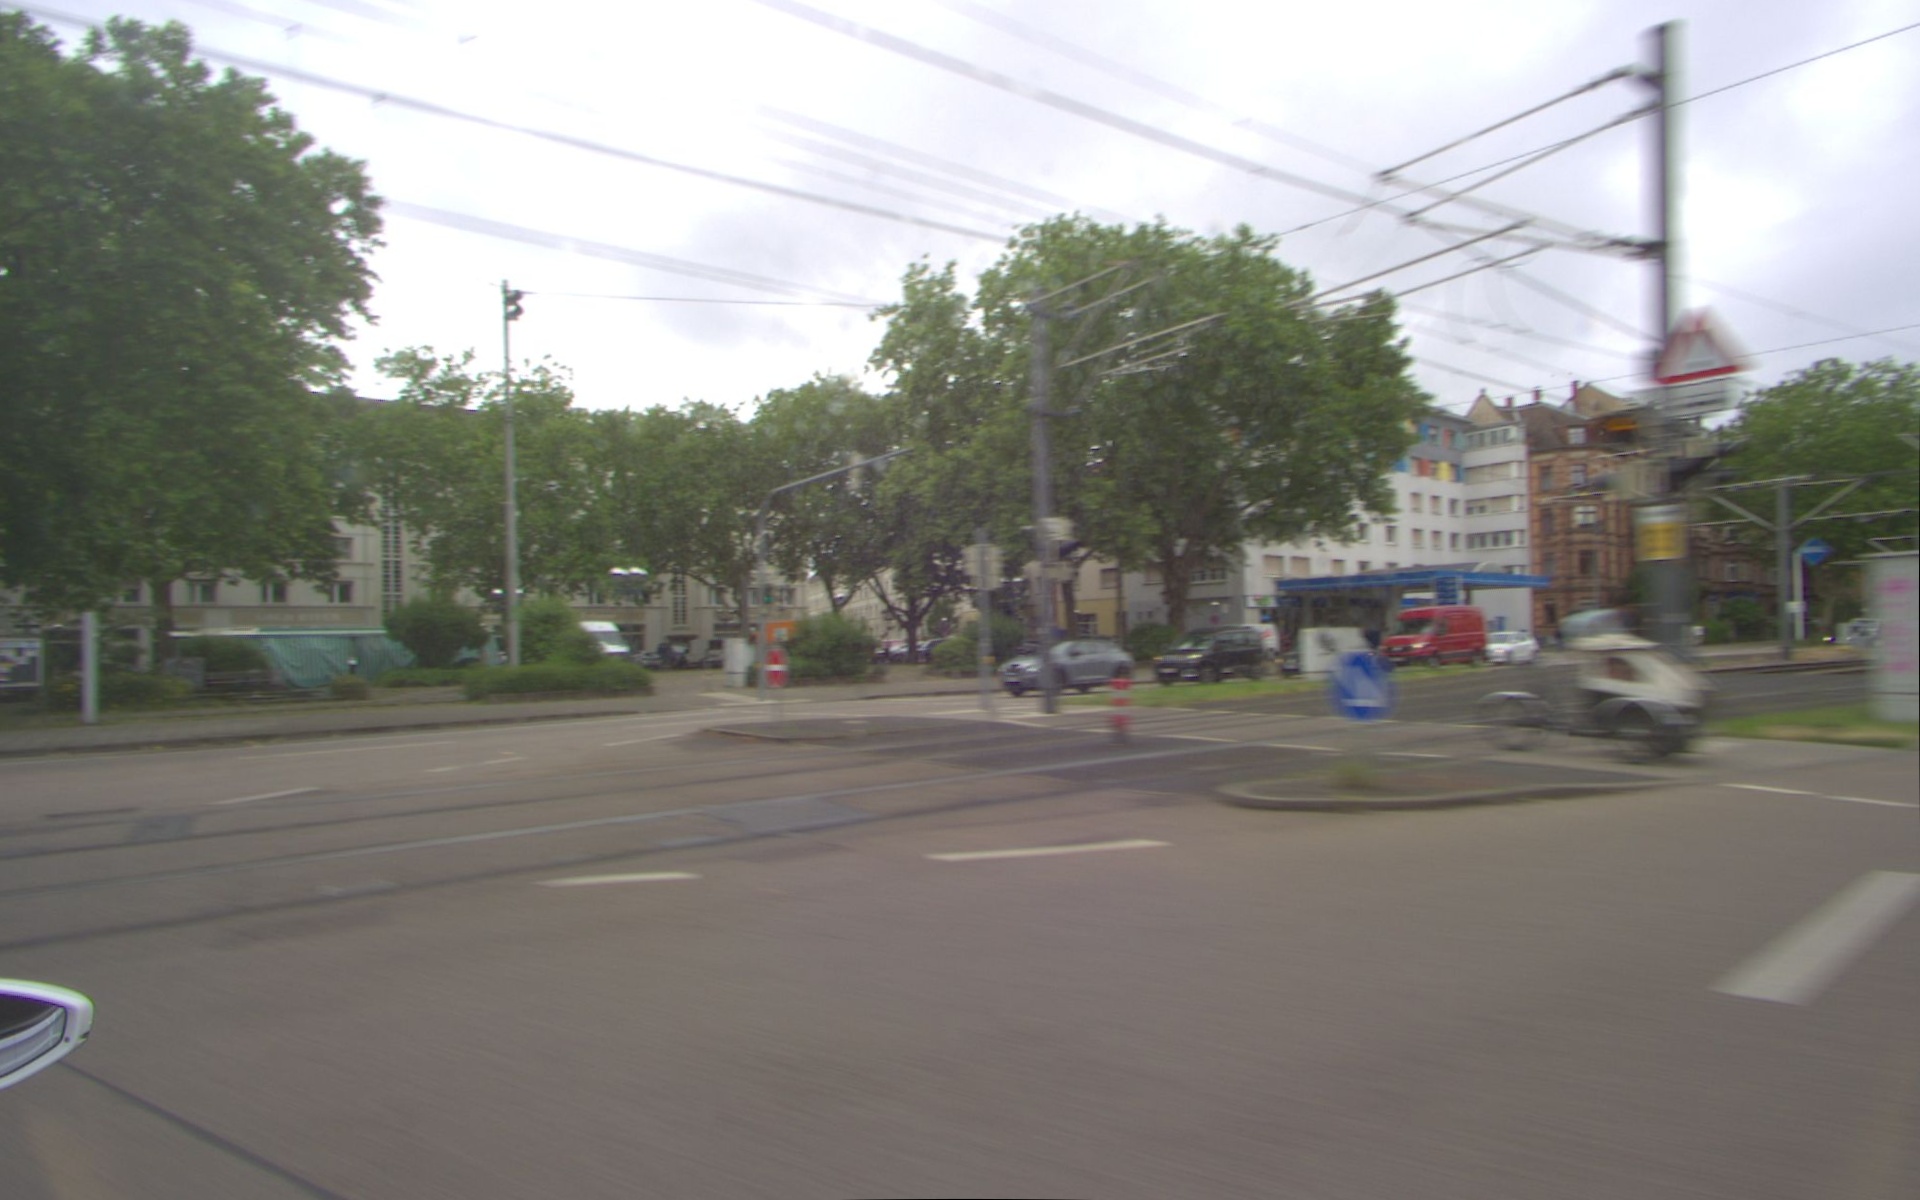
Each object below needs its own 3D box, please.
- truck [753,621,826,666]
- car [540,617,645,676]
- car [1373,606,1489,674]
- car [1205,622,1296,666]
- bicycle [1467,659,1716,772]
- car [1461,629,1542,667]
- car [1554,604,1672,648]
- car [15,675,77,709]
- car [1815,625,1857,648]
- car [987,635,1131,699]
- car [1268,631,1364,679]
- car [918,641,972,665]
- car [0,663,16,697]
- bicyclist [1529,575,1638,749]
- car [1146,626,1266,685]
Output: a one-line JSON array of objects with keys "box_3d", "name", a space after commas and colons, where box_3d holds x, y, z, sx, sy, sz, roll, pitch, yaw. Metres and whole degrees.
[{"box_3d": [-10.302, 2.649, 60.506, 3.955, 2.624, 2.369, -3, -2, 41], "name": "truck"}, {"box_3d": [-17.627, 2.222, 47.965, 5.380, 2.673, 2.227, -3, -2, 38], "name": "car"}, {"box_3d": [19.060, 1.574, 40.431, 5.546, 2.570, 1.978, 0, -2, -39], "name": "car"}, {"box_3d": [15.066, 2.271, 51.818, 5.029, 2.122, 1.978, 0, -2, -39], "name": "car"}, {"box_3d": [6.288, 1.105, 10.095, 0.546, 1.008, 2.045, 0, -2, -39], "name": "bicycle"}, {"box_3d": [24.164, 2.130, 44.648, 4.102, 1.549, 1.674, 0, -2, -39], "name": "car"}, {"box_3d": [44.169, 1.785, 67.798, 6.973, 2.762, 2.247, -1, -2, -10], "name": "car"}, {"box_3d": [-44.983, 4.483, 49.346, 1.779, 1.458, 3.802, 0, -3, -36], "name": "car"}, {"box_3d": [62.533, 2.569, 71.463, 3.427, 1.549, 1.674, 0, -2, -39], "name": "car"}, {"box_3d": [2.788, 1.821, 27.806, 3.943, 1.581, 1.674, 0, -2, -39], "name": "car"}, {"box_3d": [12.788, 1.963, 35.935, 3.427, 1.581, 1.674, 0, -2, -39], "name": "car"}, {"box_3d": [-1.089, 3.820, 72.285, 3.770, 1.643, 1.502, 0, -2, -39], "name": "car"}, {"box_3d": [-45.827, 3.760, 46.920, 1.779, 1.563, 3.802, 0, -2, -36], "name": "car"}, {"box_3d": [6.300, 0.619, 10.131, 0.609, 1.675, 0.748, 0, -2, -40], "name": "bicyclist"}, {"box_3d": [7.919, 1.760, 32.113, 3.904, 1.733, 1.674, 0, -2, -39], "name": "car"}]
